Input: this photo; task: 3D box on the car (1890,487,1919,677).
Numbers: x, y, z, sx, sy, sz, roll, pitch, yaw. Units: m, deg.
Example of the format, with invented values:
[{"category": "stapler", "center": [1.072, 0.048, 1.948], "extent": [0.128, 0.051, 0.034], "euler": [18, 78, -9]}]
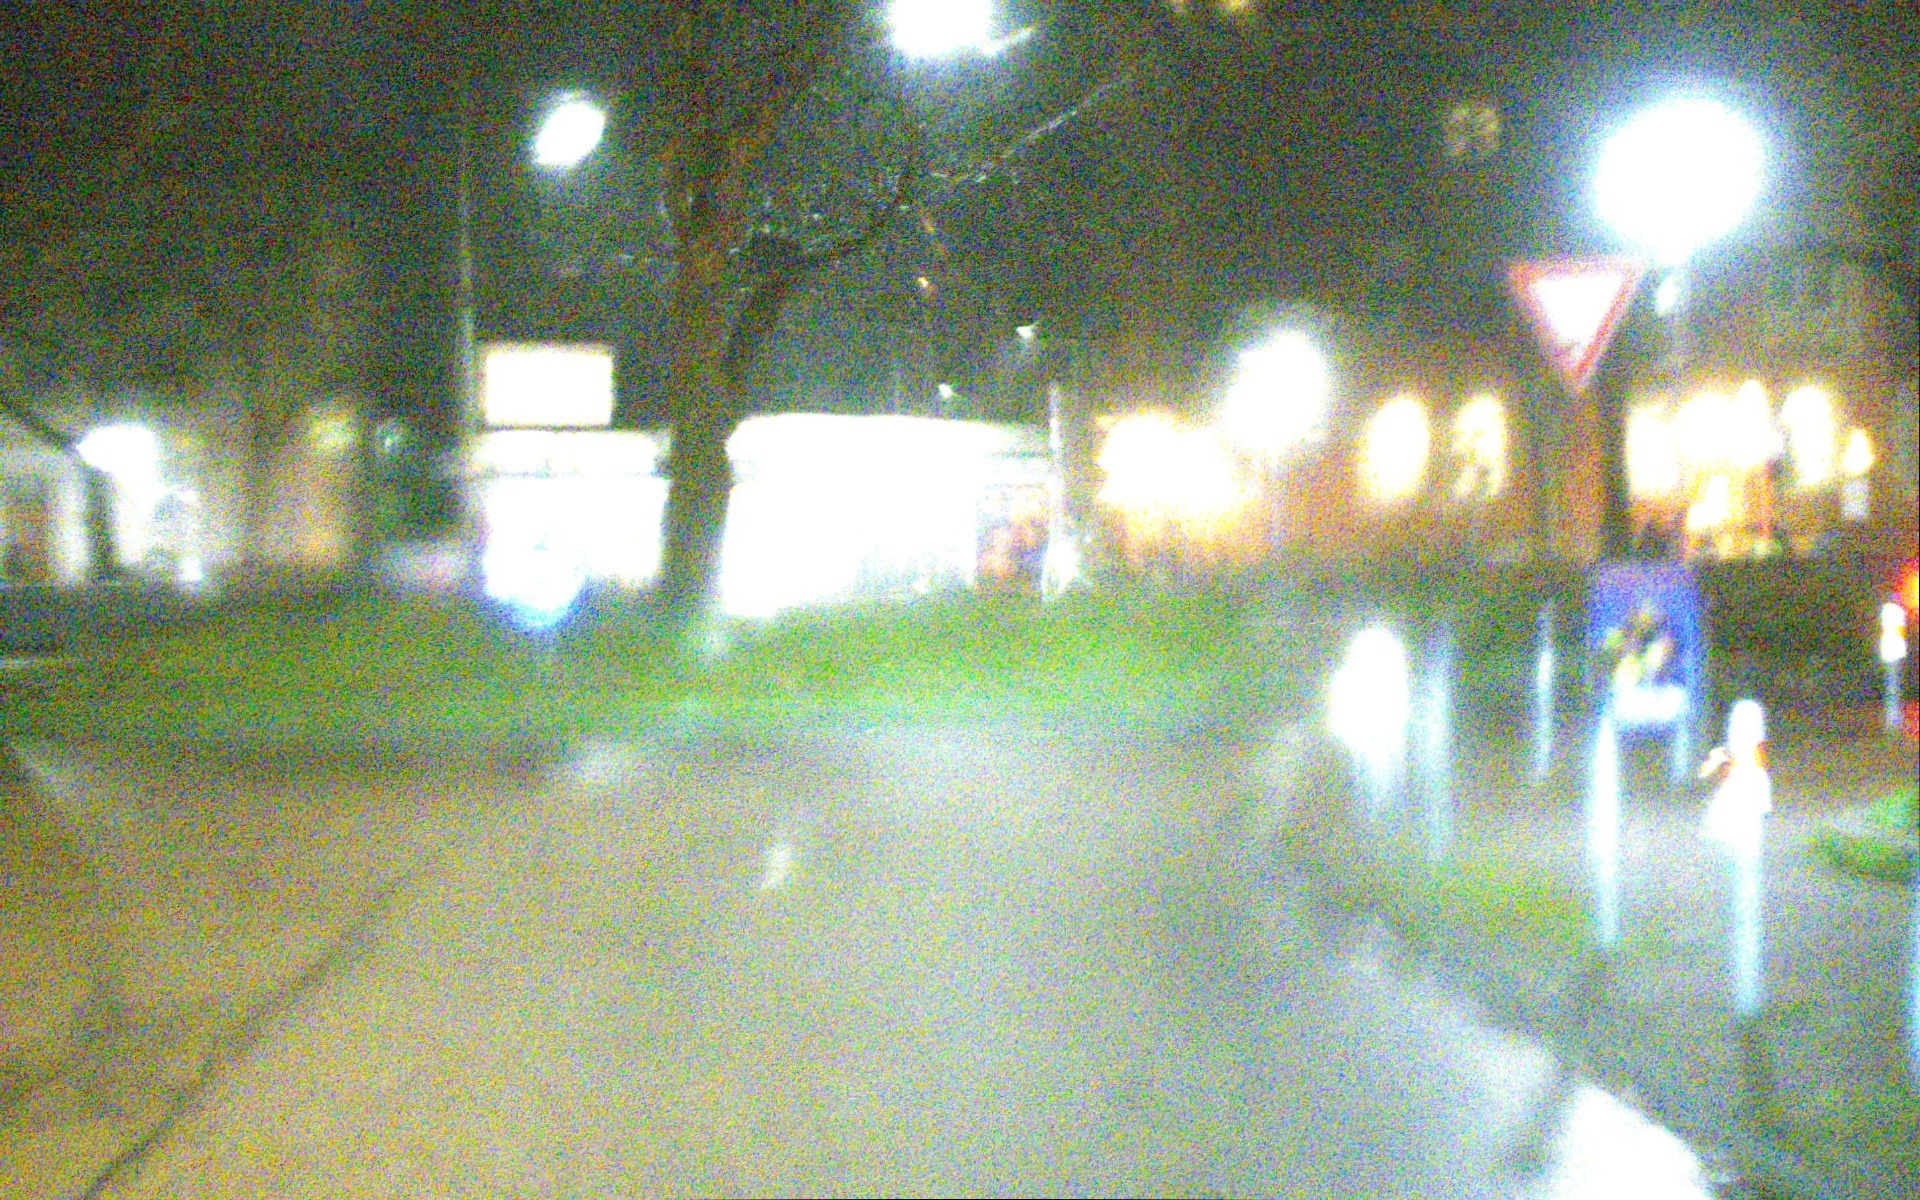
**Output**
[{"category": "car", "center": [9.894, -0.111, 29.563], "extent": [3.450, 1.608, 1.736], "euler": [1, 0, -32]}]
